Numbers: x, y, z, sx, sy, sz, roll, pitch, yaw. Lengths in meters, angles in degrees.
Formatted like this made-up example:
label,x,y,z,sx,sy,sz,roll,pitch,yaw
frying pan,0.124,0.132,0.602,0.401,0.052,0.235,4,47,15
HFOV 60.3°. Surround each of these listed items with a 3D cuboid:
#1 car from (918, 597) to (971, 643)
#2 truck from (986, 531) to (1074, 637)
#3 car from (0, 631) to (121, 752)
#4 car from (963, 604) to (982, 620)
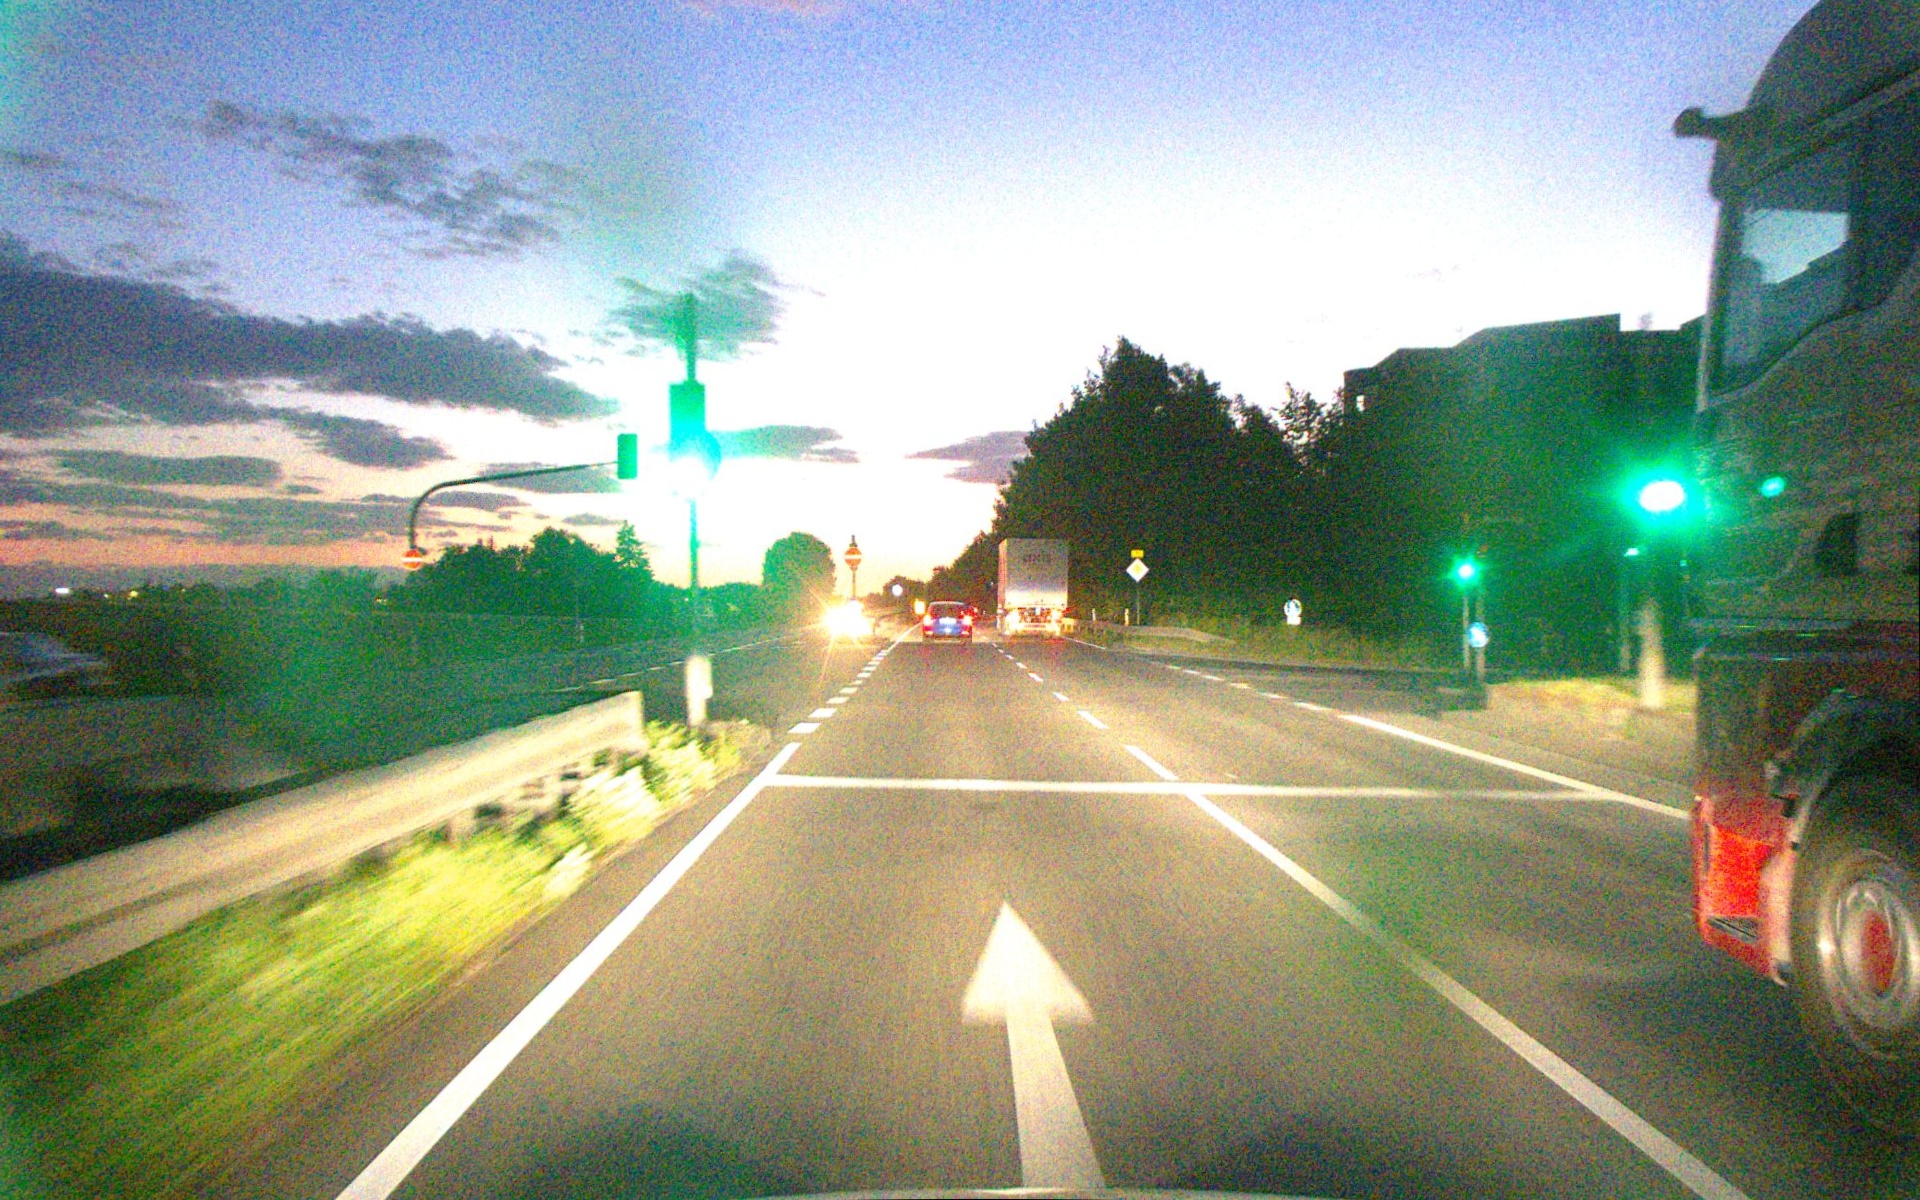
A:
label,x,y,z,sx,sy,sz,roll,pitch,yaw
car,-0.560,0.651,56.186,1.661,1.478,3.912,1,0,-2
truck,2.888,-0.618,72.539,2.825,4.178,12.677,1,0,-2
car,-11.998,1.121,20.204,1.573,1.353,3.937,-2,0,-2
car,1.169,1.169,160.111,1.661,1.478,3.912,1,0,-2
